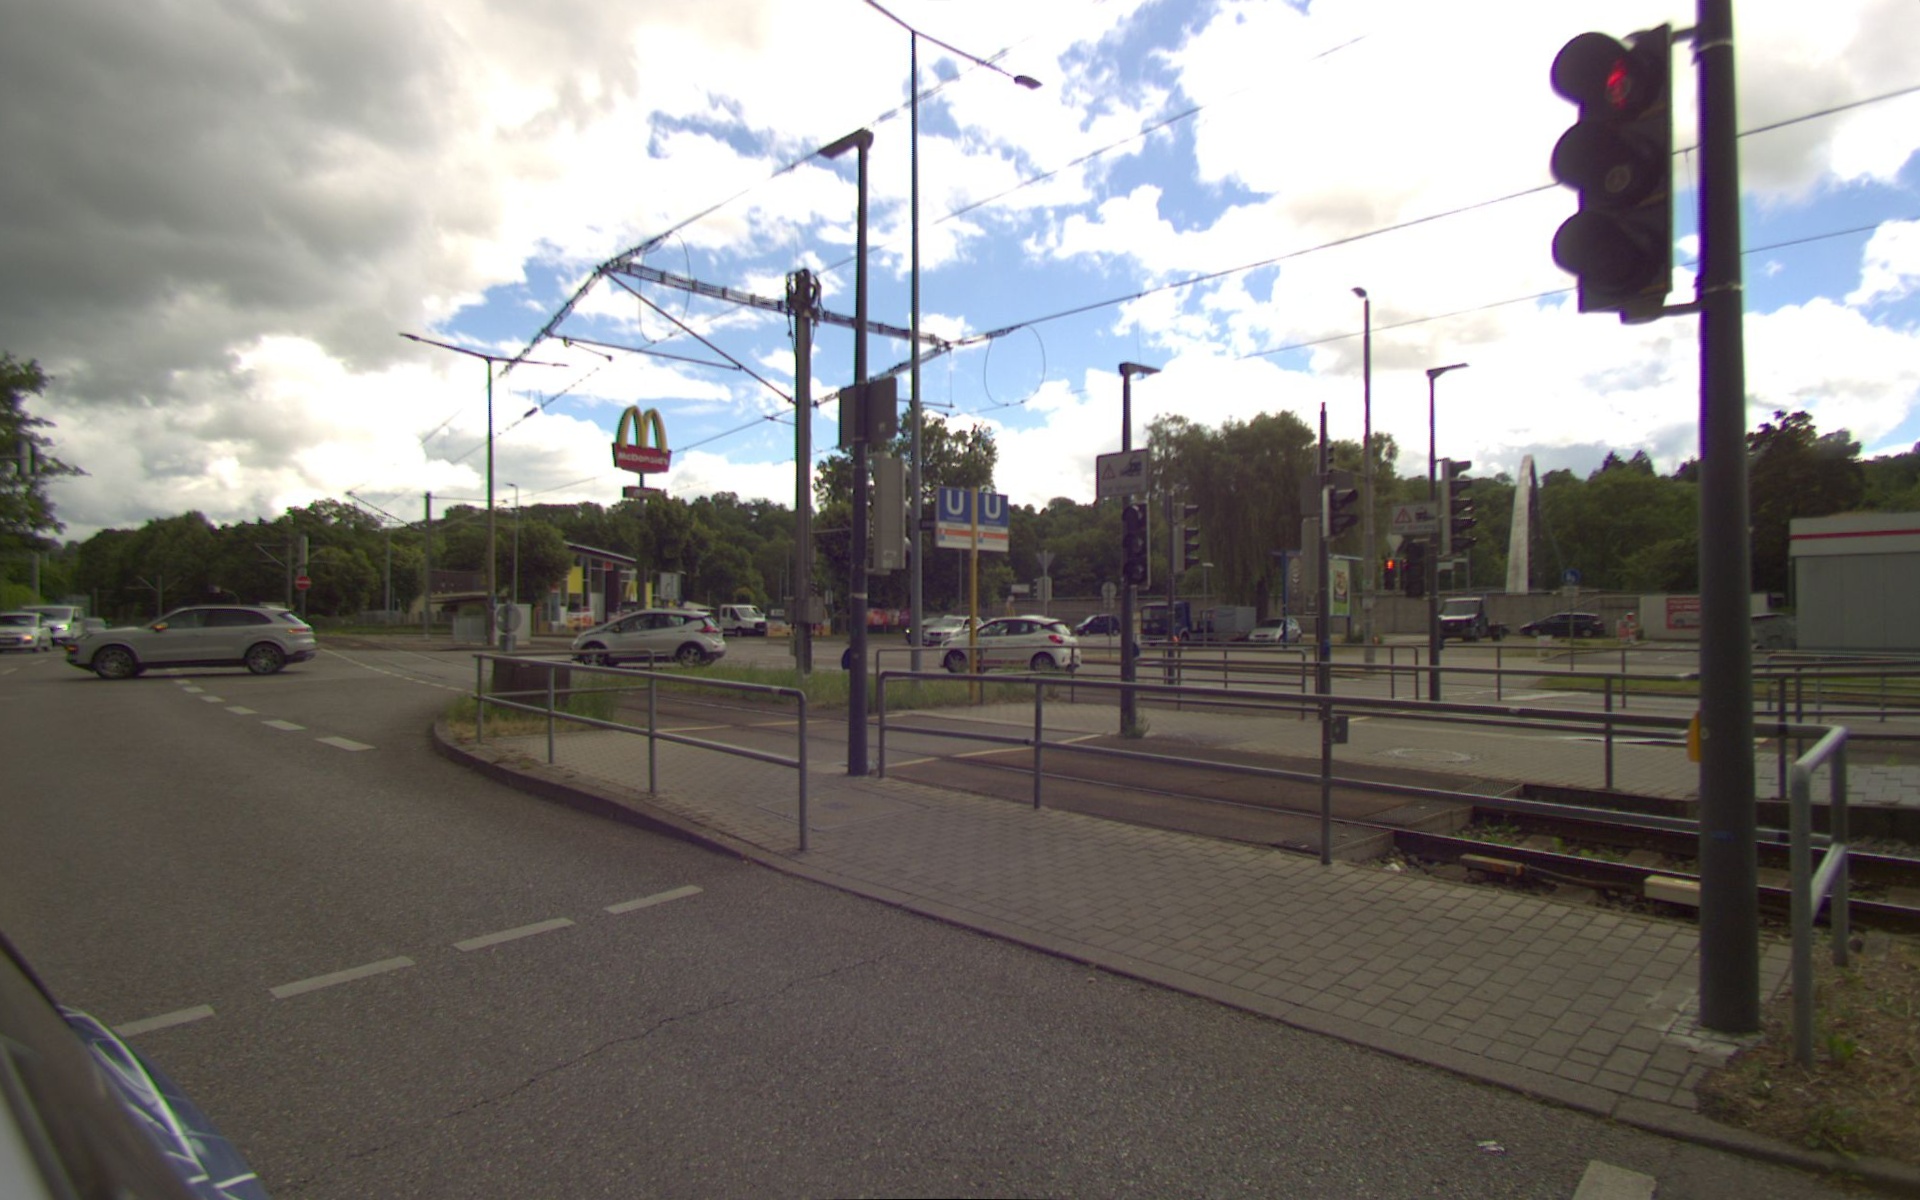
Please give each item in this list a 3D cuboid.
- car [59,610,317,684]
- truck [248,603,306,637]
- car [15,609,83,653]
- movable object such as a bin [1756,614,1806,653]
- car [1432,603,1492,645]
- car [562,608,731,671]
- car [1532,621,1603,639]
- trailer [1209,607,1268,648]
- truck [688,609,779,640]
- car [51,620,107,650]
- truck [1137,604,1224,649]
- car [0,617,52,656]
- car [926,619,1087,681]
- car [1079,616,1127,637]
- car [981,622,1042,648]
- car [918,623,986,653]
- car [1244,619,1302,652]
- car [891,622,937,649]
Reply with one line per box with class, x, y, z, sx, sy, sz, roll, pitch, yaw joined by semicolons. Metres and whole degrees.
car;-18.497;1.088;24.567;4.771;1.655;1.682;1;-2;-29
truck;-76.690;2.242;113.584;8.698;3.587;3.390;-1;-3;42
car;-39.727;1.345;44.216;1.780;1.839;4.009;1;-2;-37
movable object such as a bin;32.358;1.306;39.899;1.088;1.506;1.374;3;-3;-42
car;26.342;1.297;53.038;1.845;2.067;4.322;-1;-3;40
car;-8.446;1.059;27.530;4.066;1.653;1.750;0;-1;0
car;38.842;1.912;64.766;3.875;1.130;1.557;0;-2;31
trailer;16.077;1.599;58.237;1.559;2.275;4.332;-1;-3;41
truck;-14.630;1.564;65.172;6.195;1.920;2.565;-1;-3;41
car;-48.422;1.906;55.697;1.967;1.547;4.009;3;-2;-36
truck;12.819;1.524;58.552;2.386;2.513;5.743;-1;-2;42
car;-36.072;1.363;38.687;1.693;1.429;4.008;3;-3;-38
car;1.176;1.233;25.867;3.812;1.465;1.616;-1;-1;29
car;11.046;2.052;78.156;3.604;1.566;1.721;0;-1;12
car;3.058;2.011;59.267;1.791;1.443;4.236;-1;-1;32
car;-0.381;1.987;53.712;1.788;1.443;4.376;-1;-1;28
car;17.206;1.903;55.580;1.754;1.756;3.806;-1;-2;39
car;-2.563;1.986;56.872;1.777;1.443;3.628;0;-1;11
